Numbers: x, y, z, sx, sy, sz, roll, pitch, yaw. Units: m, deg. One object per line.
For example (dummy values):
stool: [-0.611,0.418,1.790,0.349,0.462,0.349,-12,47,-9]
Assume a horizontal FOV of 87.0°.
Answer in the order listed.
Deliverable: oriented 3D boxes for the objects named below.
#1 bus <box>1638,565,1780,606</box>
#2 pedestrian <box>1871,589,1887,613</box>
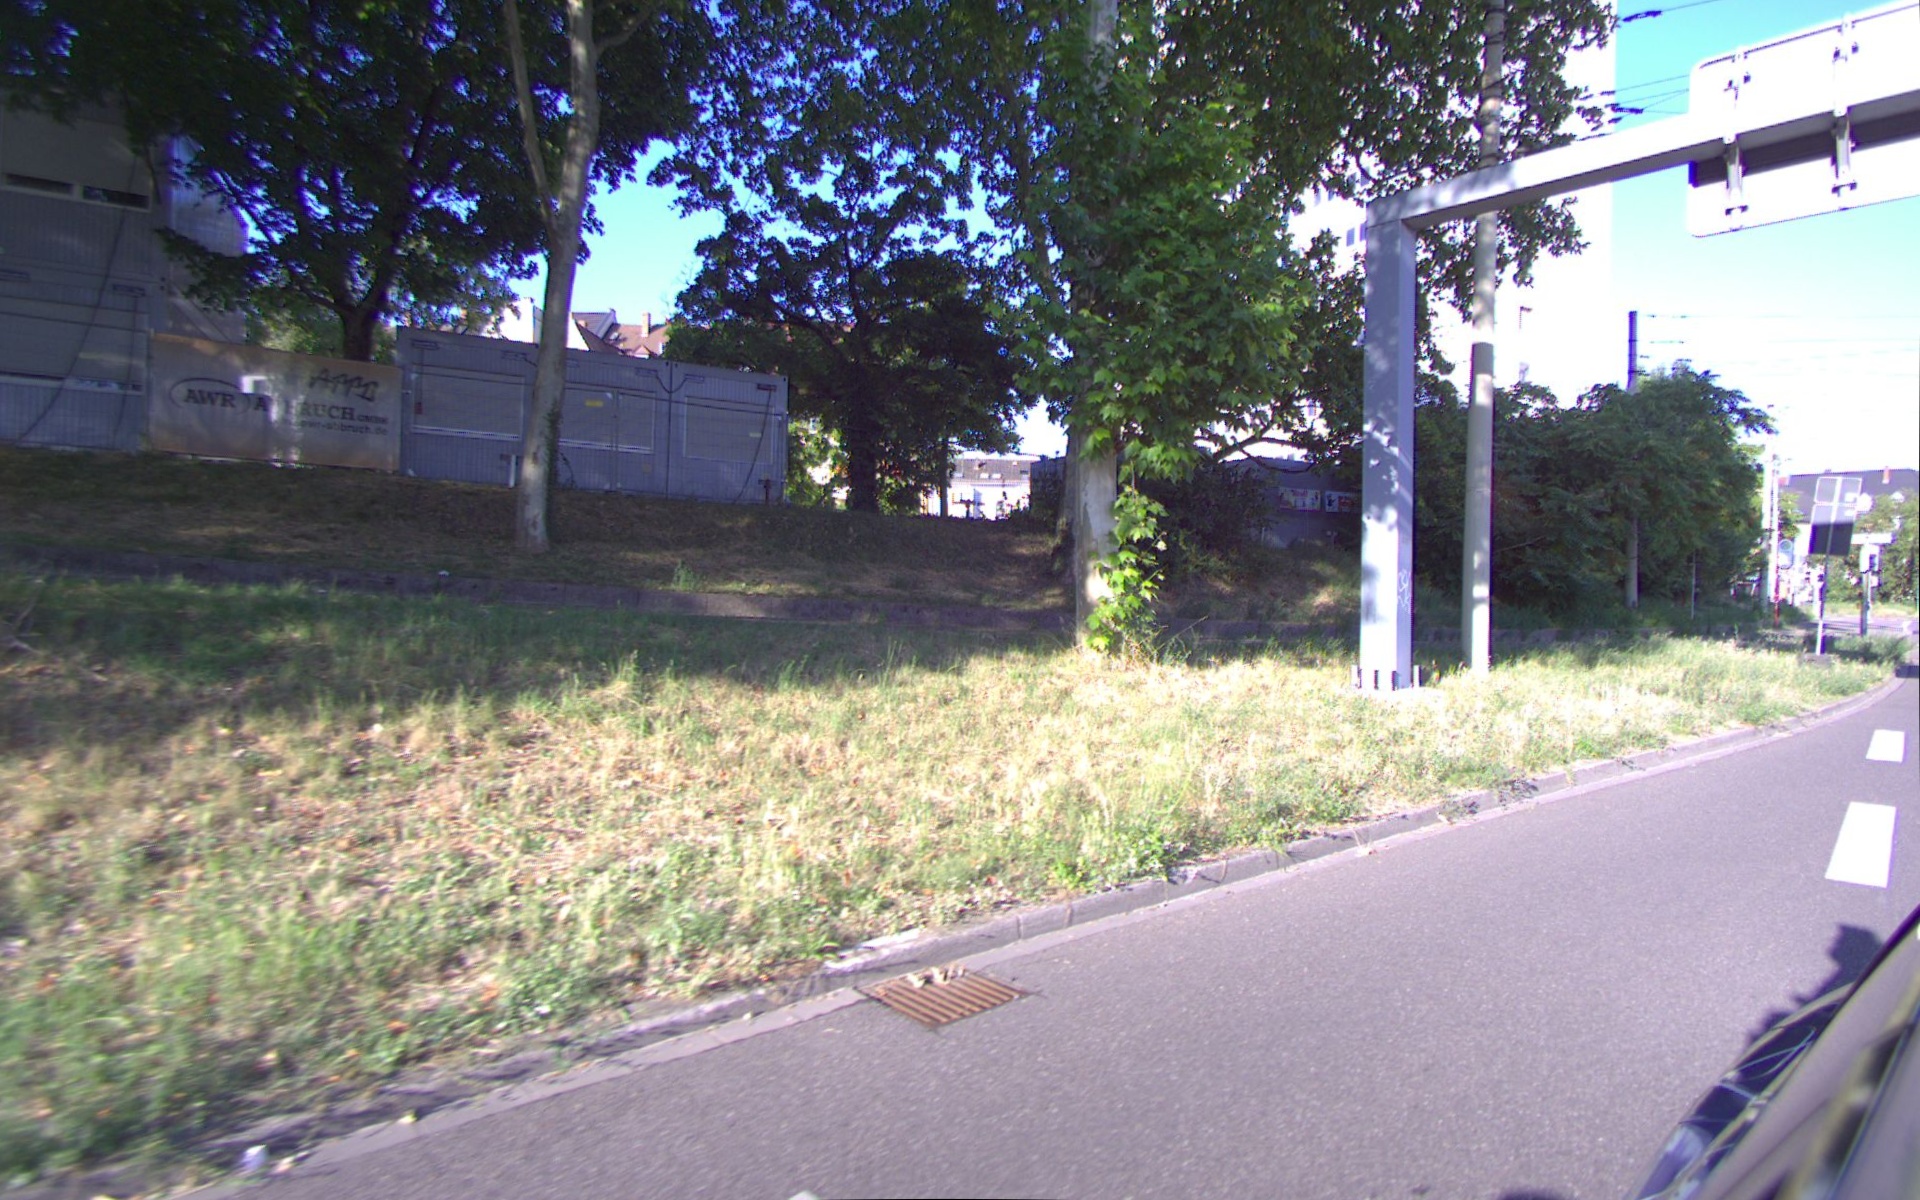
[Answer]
bus: [60.028,-1.160,81.349,8.739,3.063,2.599,2,1,18]
pedestrian: [63.540,0.081,69.992,0.535,1.615,0.595,1,1,-10]
